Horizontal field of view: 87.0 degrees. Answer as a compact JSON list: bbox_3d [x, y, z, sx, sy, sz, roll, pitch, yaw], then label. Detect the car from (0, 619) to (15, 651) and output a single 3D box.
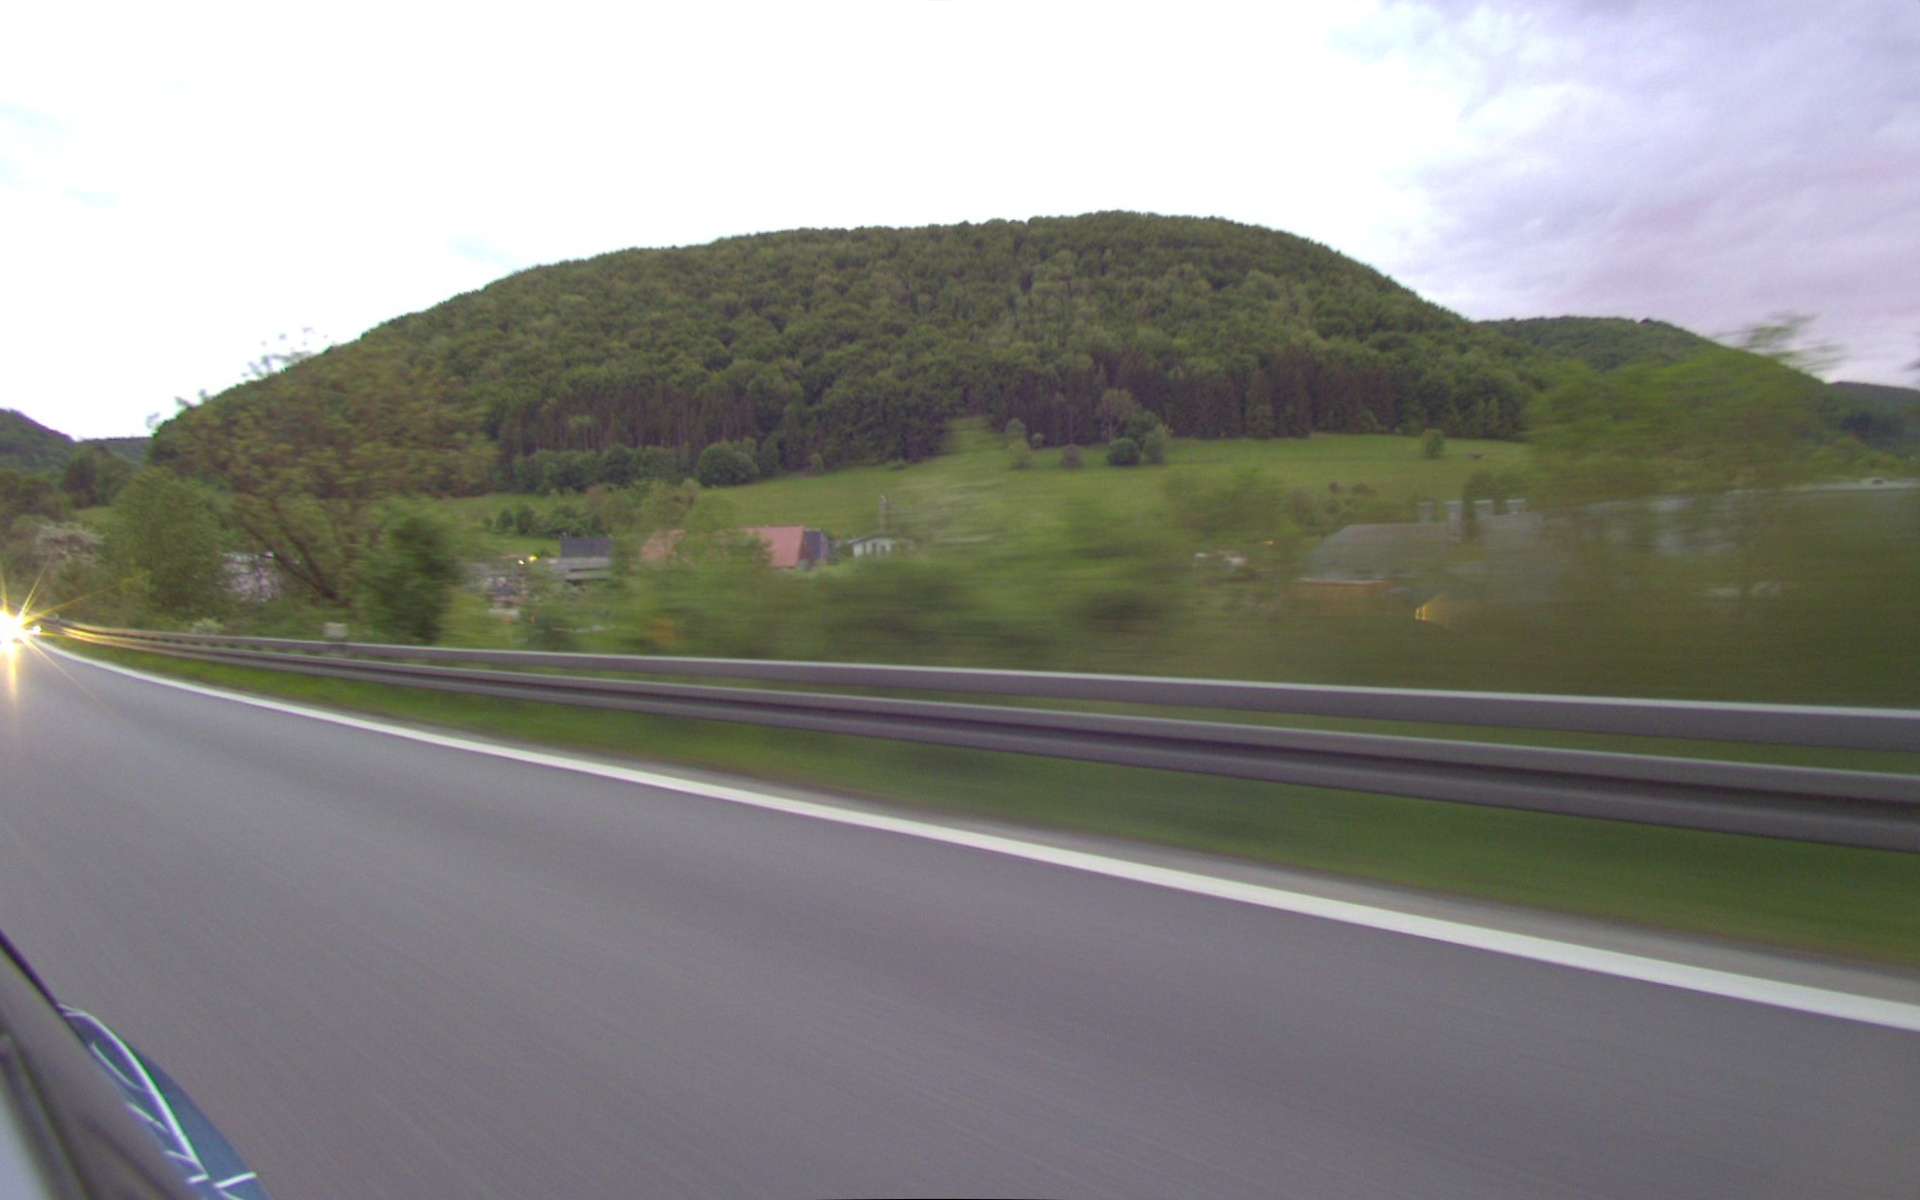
[{"bbox_3d":[-46.178,1.691,48.017,3.767,1.479,1.668,-2,-1,42],"label":"car"}]
